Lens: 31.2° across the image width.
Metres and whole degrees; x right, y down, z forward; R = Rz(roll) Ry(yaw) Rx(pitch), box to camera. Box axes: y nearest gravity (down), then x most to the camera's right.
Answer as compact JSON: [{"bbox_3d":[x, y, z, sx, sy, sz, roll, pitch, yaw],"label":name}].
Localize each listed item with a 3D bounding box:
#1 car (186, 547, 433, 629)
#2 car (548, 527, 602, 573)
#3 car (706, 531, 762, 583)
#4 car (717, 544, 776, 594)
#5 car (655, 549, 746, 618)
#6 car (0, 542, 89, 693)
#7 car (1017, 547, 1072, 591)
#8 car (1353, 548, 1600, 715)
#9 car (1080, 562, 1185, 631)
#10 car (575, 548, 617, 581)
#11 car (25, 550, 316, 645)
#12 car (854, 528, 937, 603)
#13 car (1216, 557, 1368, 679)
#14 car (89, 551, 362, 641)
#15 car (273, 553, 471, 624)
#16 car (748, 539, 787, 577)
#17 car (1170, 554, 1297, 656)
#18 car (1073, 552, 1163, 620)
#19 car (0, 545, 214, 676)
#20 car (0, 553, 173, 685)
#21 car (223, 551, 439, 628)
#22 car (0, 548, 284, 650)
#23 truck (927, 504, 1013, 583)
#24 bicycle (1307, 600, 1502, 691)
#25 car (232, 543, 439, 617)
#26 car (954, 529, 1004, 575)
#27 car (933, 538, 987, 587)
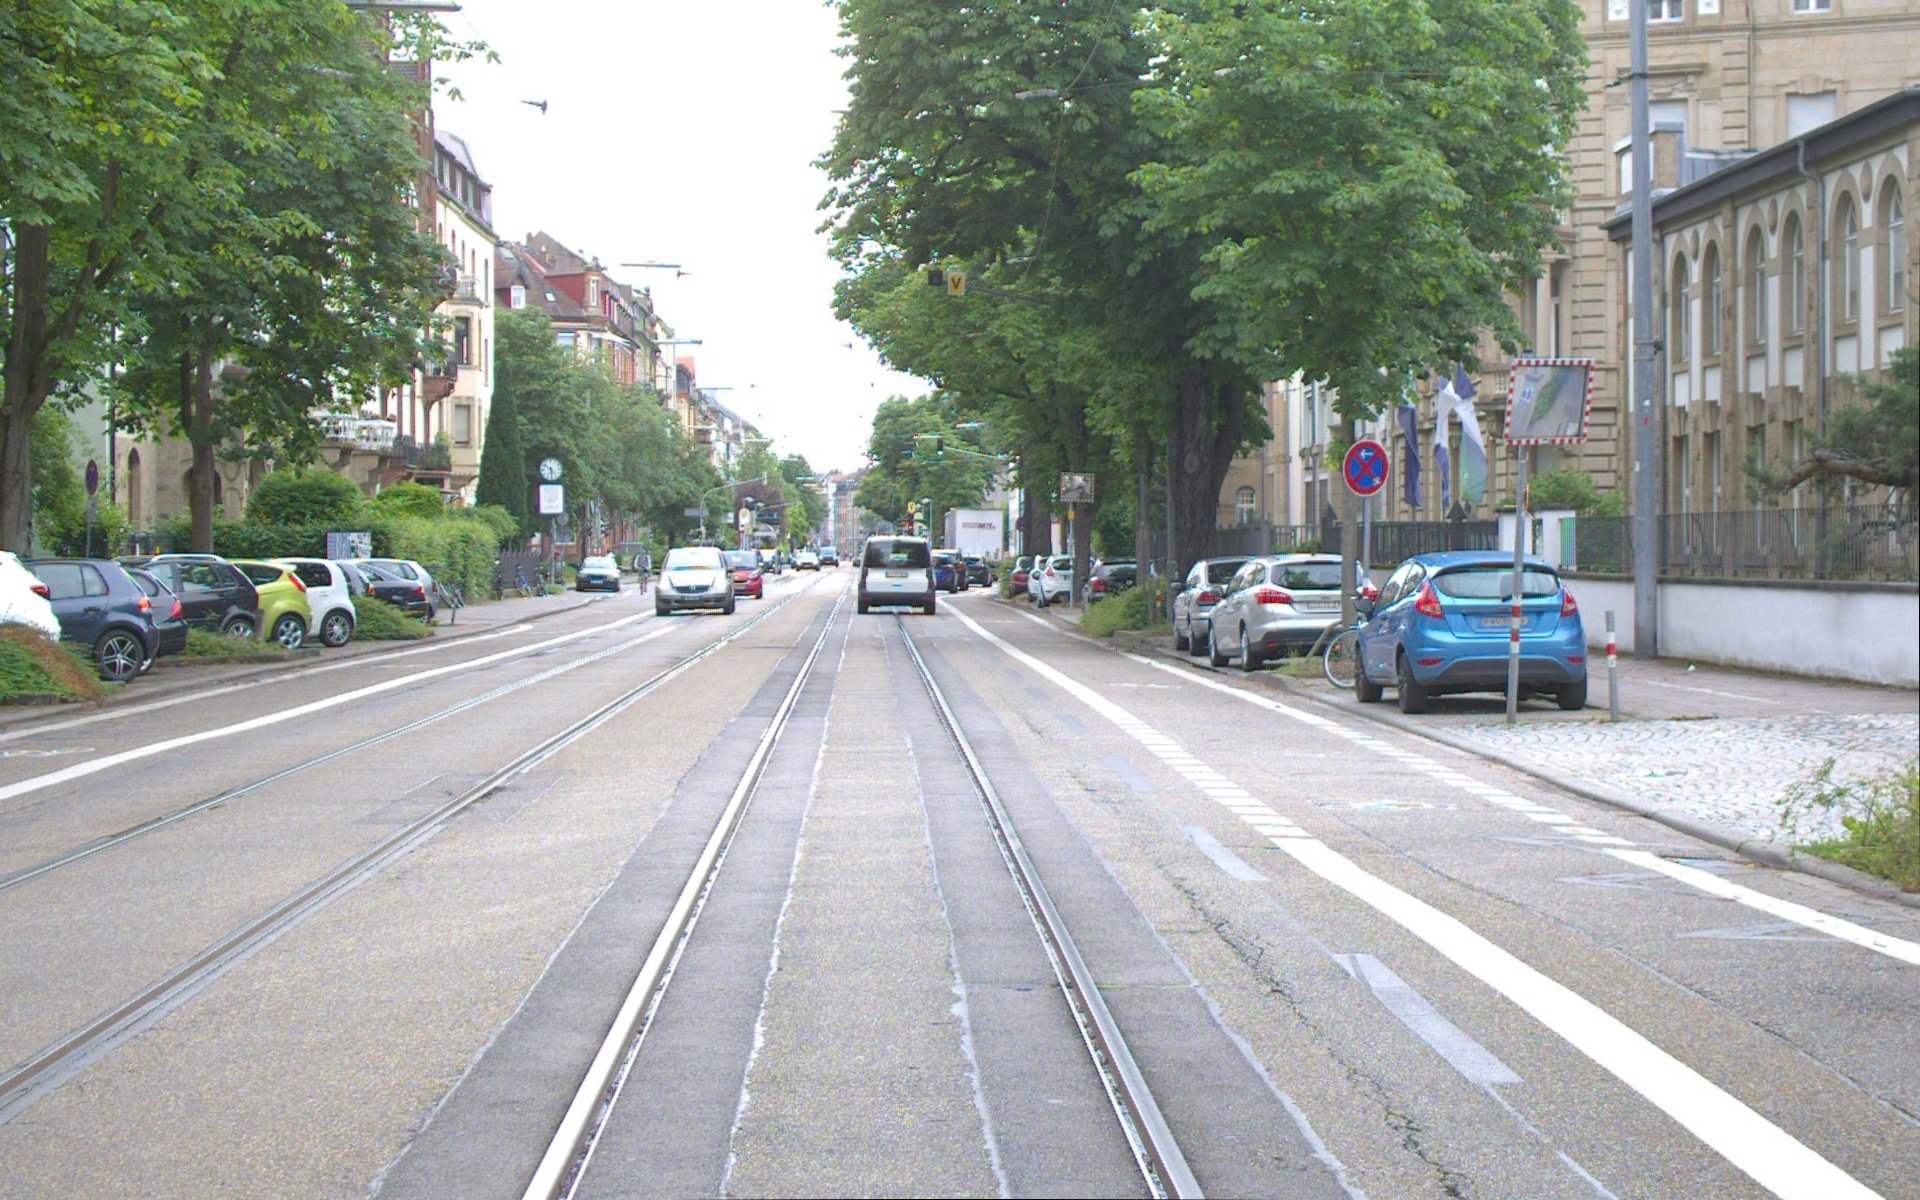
[{"bbox_3d":[-11.294,-0.208,59.823,1.699,1.347,3.958,2,1,43],"label":"car"},{"bbox_3d":[-18.723,-2.445,167.333,2.177,2.199,4.219,-1,1,0],"label":"car"},{"bbox_3d":[-10.663,-2.059,162.517,2.205,2.409,4.000,-1,1,2],"label":"car"},{"bbox_3d":[-6.587,-0.950,106.210,1.676,1.517,2.782,1,0,-1],"label":"car"},{"bbox_3d":[-6.082,-0.418,80.839,1.900,1.525,3.754,-2,1,-1],"label":"car"},{"bbox_3d":[-11.273,0.164,35.293,1.698,1.550,4.336,2,1,40],"label":"car"},{"bbox_3d":[2.765,-1.030,113.056,1.770,1.394,3.795,0,1,1],"label":"car"},{"bbox_3d":[4.779,0.255,32.185,1.674,1.455,3.433,1,1,-2],"label":"car"},{"bbox_3d":[3.272,-0.088,65.792,1.873,1.247,4.000,0,1,1],"label":"car"},{"bbox_3d":[-15.038,-1.468,142.066,1.641,1.349,3.878,0,1,-5],"label":"car"},{"bbox_3d":[-11.792,-0.043,51.524,1.699,1.347,3.958,2,1,43],"label":"car"},{"bbox_3d":[-1.491,-0.798,80.802,1.812,1.702,3.699,1,0,1],"label":"car"},{"bbox_3d":[4.230,0.199,44.230,1.475,1.476,3.566,1,1,-2],"label":"car"},{"bbox_3d":[-11.640,-0.062,54.646,1.699,1.347,3.958,2,1,43],"label":"car"},{"bbox_3d":[-12.217,-0.241,71.425,3.707,1.381,1.700,1,1,-25],"label":"car"},{"bbox_3d":[-11.564,-2.518,206.626,2.205,2.248,4.000,-1,1,-1],"label":"car"},{"bbox_3d":[4.052,0.048,51.338,1.475,1.424,3.566,1,1,-2],"label":"car"},{"bbox_3d":[3.358,-0.313,73.487,1.791,1.394,3.795,0,1,1],"label":"car"},{"bbox_3d":[-11.411,0.111,41.832,1.699,1.530,4.335,2,1,43],"label":"car"},{"bbox_3d":[-11.166,0.196,38.519,1.699,1.449,4.335,2,1,43],"label":"car"},{"bbox_3d":[-11.950,-0.199,65.359,3.707,1.381,1.700,1,1,-25],"label":"car"},{"bbox_3d":[-11.648,-0.021,48.303,1.699,1.347,3.958,2,1,43],"label":"car"},{"bbox_3d":[0.480,-2.983,181.737,3.807,4.016,10.220,0,1,-4],"label":"truck"},{"bbox_3d":[4.787,0.486,37.085,2.012,0.953,0.534,-1,1,-5],"label":"bicycle"},{"bbox_3d":[-12.389,-0.395,68.235,3.707,1.381,1.700,1,1,-25],"label":"car"},{"bbox_3d":[0.832,-2.121,152.634,1.993,2.007,4.001,0,1,-3],"label":"car"},{"bbox_3d":[-0.018,-1.424,129.684,1.993,1.787,4.000,0,1,0],"label":"car"}]
